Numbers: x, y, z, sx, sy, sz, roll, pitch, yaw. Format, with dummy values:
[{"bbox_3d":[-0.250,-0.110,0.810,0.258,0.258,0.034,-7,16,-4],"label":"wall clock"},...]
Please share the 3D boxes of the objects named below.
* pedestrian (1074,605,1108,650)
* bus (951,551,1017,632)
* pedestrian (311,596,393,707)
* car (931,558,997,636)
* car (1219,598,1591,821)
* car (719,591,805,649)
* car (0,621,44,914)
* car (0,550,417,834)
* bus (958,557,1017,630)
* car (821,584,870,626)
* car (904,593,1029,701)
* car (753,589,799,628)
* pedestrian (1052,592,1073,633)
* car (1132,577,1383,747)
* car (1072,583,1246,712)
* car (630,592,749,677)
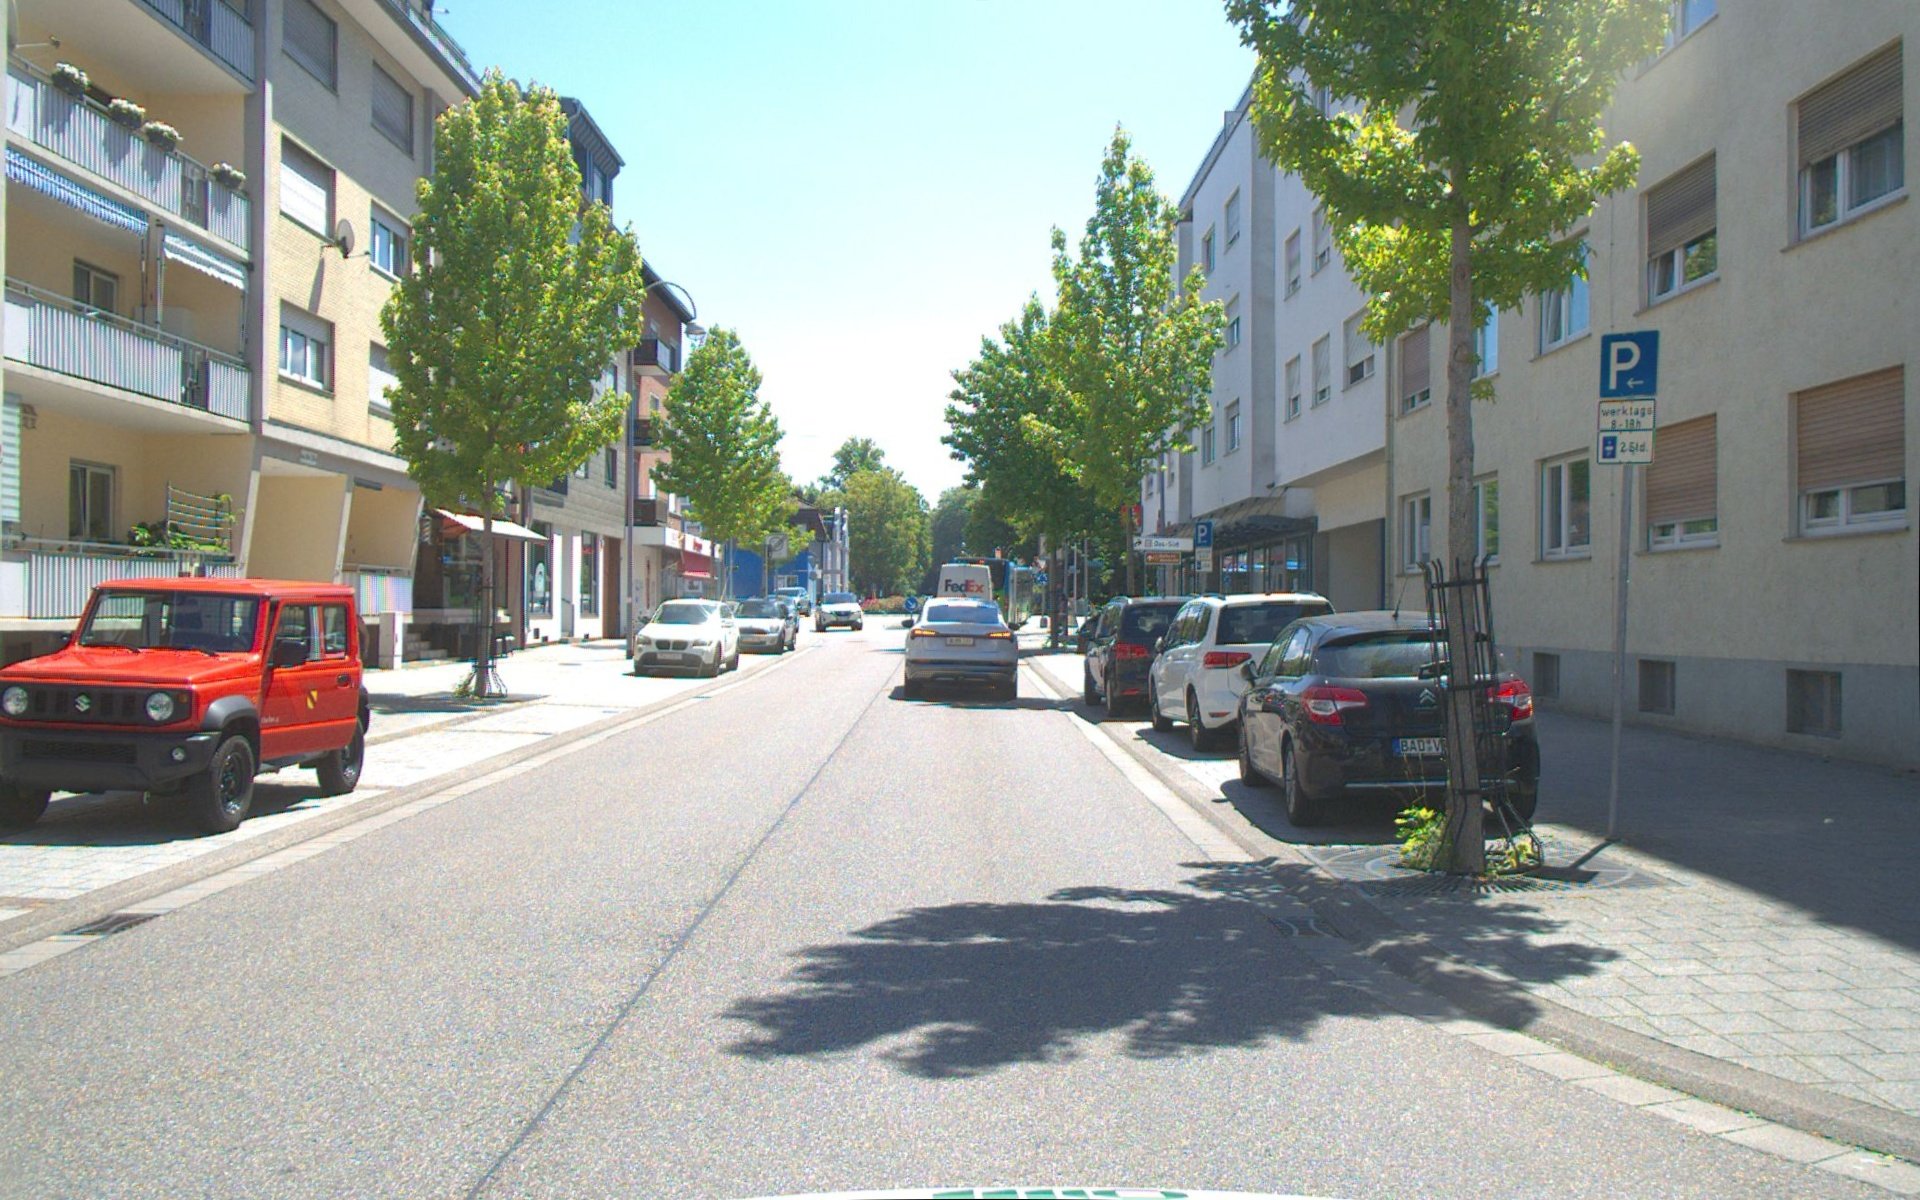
[{"bbox_3d":[3.676,0.759,46.481,0.887,1.258,0.648,0,0,-1],"label":"pedestrian"},{"bbox_3d":[1.134,-0.335,73.222,2.605,3.277,7.303,2,0,2],"label":"bus"},{"bbox_3d":[-8.685,0.722,23.661,0.683,1.518,1.097,3,0,-1],"label":"pedestrian"},{"bbox_3d":[0.134,-0.080,57.343,2.112,2.484,5.283,2,0,0],"label":"car"},{"bbox_3d":[3.304,0.725,13.241,1.857,1.463,4.545,0,0,1],"label":"car"},{"bbox_3d":[-5.527,0.537,46.627,1.716,1.478,4.401,2,0,1],"label":"car"},{"bbox_3d":[-5.641,0.801,5.974,1.858,1.442,5.047,2,0,-1],"label":"car"},{"bbox_3d":[-5.635,0.570,12.449,1.717,1.732,4.100,2,0,-1],"label":"car"},{"bbox_3d":[1.406,-0.288,80.569,2.605,3.266,7.453,2,0,2],"label":"bus"},{"bbox_3d":[-4.896,0.219,71.055,1.818,1.721,4.149,-1,0,-1],"label":"car"},{"bbox_3d":[0.059,0.749,28.412,1.953,1.661,3.999,2,0,-2],"label":"car"},{"bbox_3d":[-7.506,0.331,67.780,1.802,1.521,3.996,0,0,-5],"label":"car"},{"bbox_3d":[3.832,0.448,61.833,0.703,1.529,0.581,0,0,-9],"label":"pedestrian"},{"bbox_3d":[3.314,0.626,19.382,1.858,1.704,4.688,-1,0,-3],"label":"car"},{"bbox_3d":[2.862,0.631,24.723,1.819,1.704,4.534,-1,0,-3],"label":"car"},{"bbox_3d":[-5.777,0.703,35.758,1.716,1.646,4.401,2,0,1],"label":"car"}]
